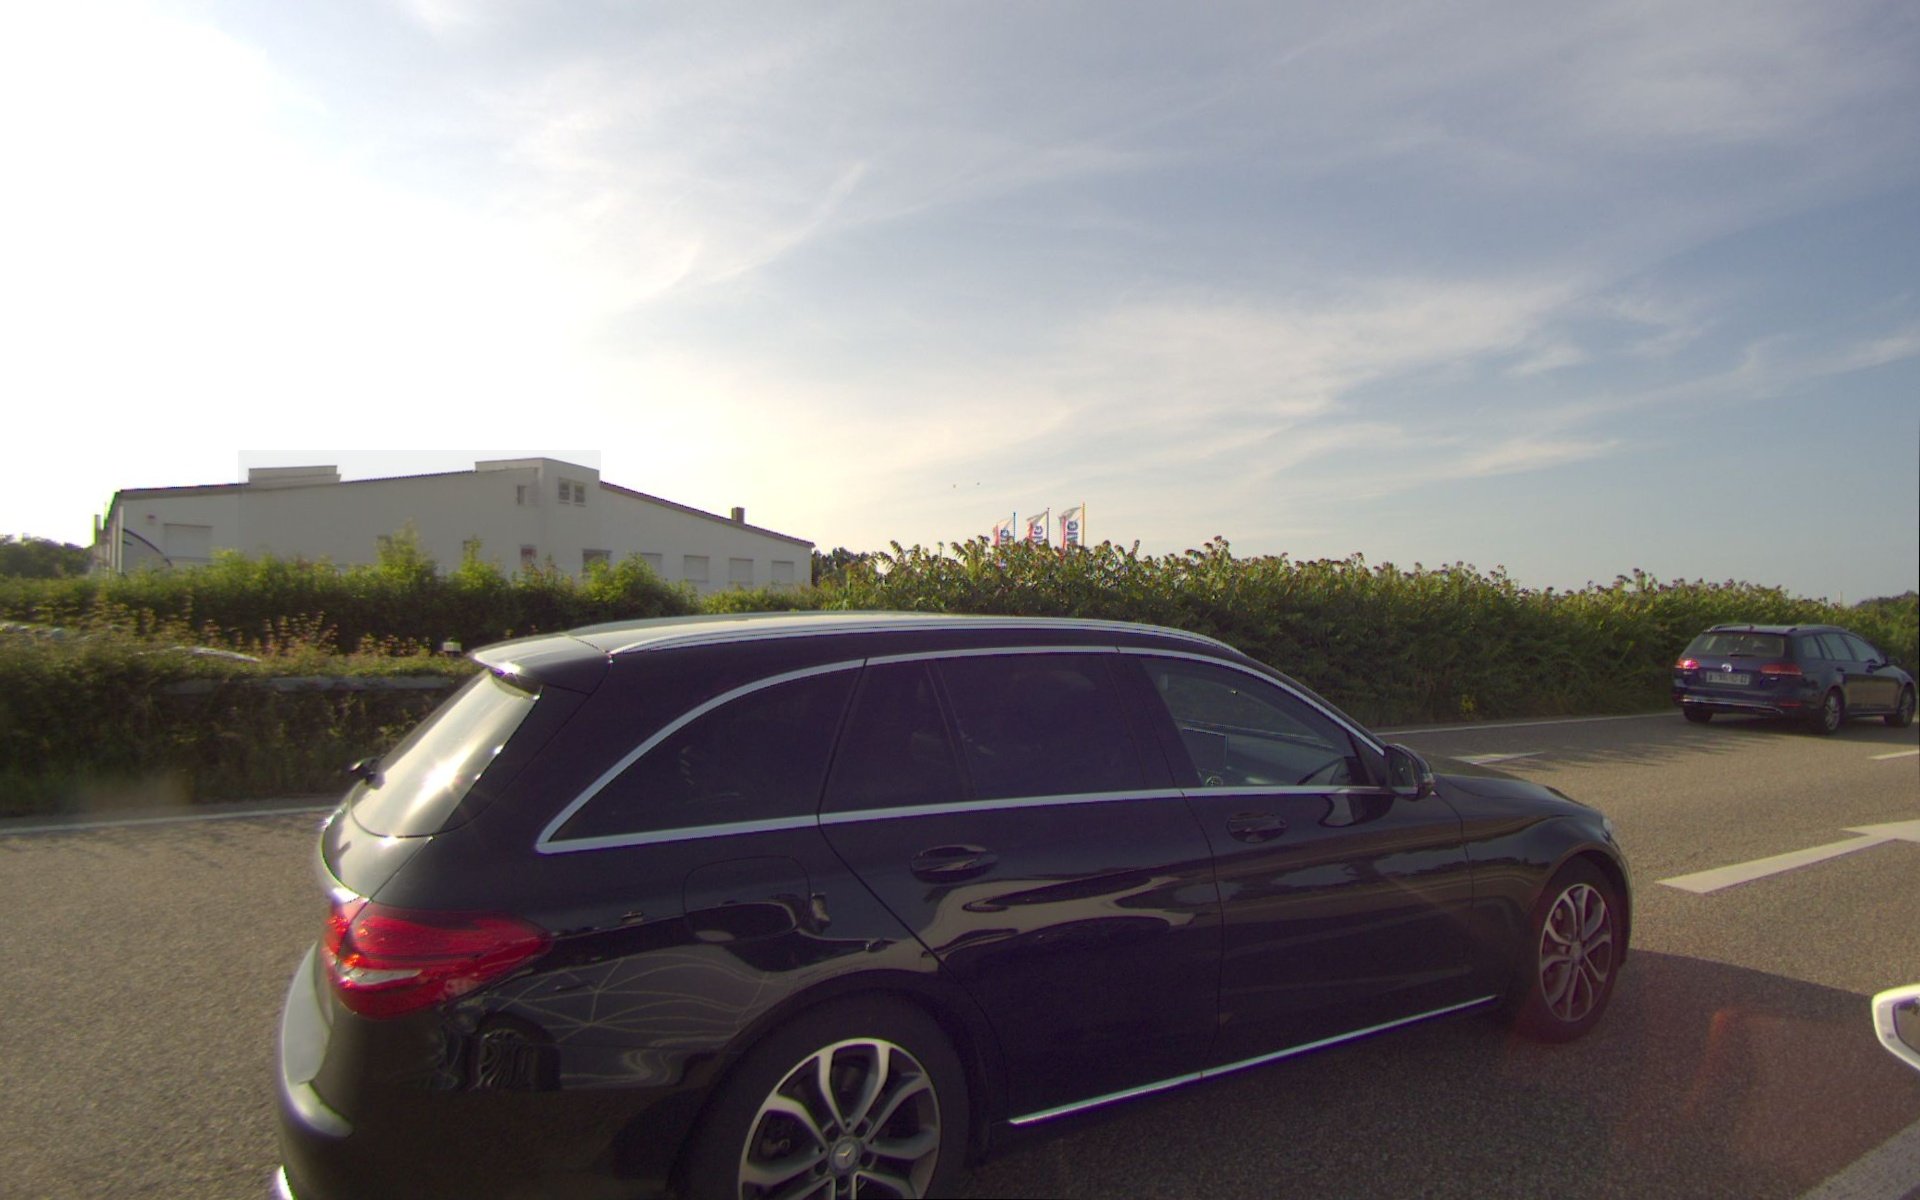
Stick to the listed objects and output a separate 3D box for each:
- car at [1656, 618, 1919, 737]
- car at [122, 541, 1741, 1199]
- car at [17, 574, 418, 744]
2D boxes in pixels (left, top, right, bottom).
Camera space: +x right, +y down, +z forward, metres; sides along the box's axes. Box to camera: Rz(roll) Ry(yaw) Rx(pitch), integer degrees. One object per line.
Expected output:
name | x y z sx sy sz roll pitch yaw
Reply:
car | 12.446 1.104 14.896 4.721 1.490 1.638 2 -1 -30
car | 0.553 0.725 3.388 4.963 1.490 1.565 2 -1 -30
car | -8.131 0.619 11.392 3.420 1.665 1.587 2 -1 -31
